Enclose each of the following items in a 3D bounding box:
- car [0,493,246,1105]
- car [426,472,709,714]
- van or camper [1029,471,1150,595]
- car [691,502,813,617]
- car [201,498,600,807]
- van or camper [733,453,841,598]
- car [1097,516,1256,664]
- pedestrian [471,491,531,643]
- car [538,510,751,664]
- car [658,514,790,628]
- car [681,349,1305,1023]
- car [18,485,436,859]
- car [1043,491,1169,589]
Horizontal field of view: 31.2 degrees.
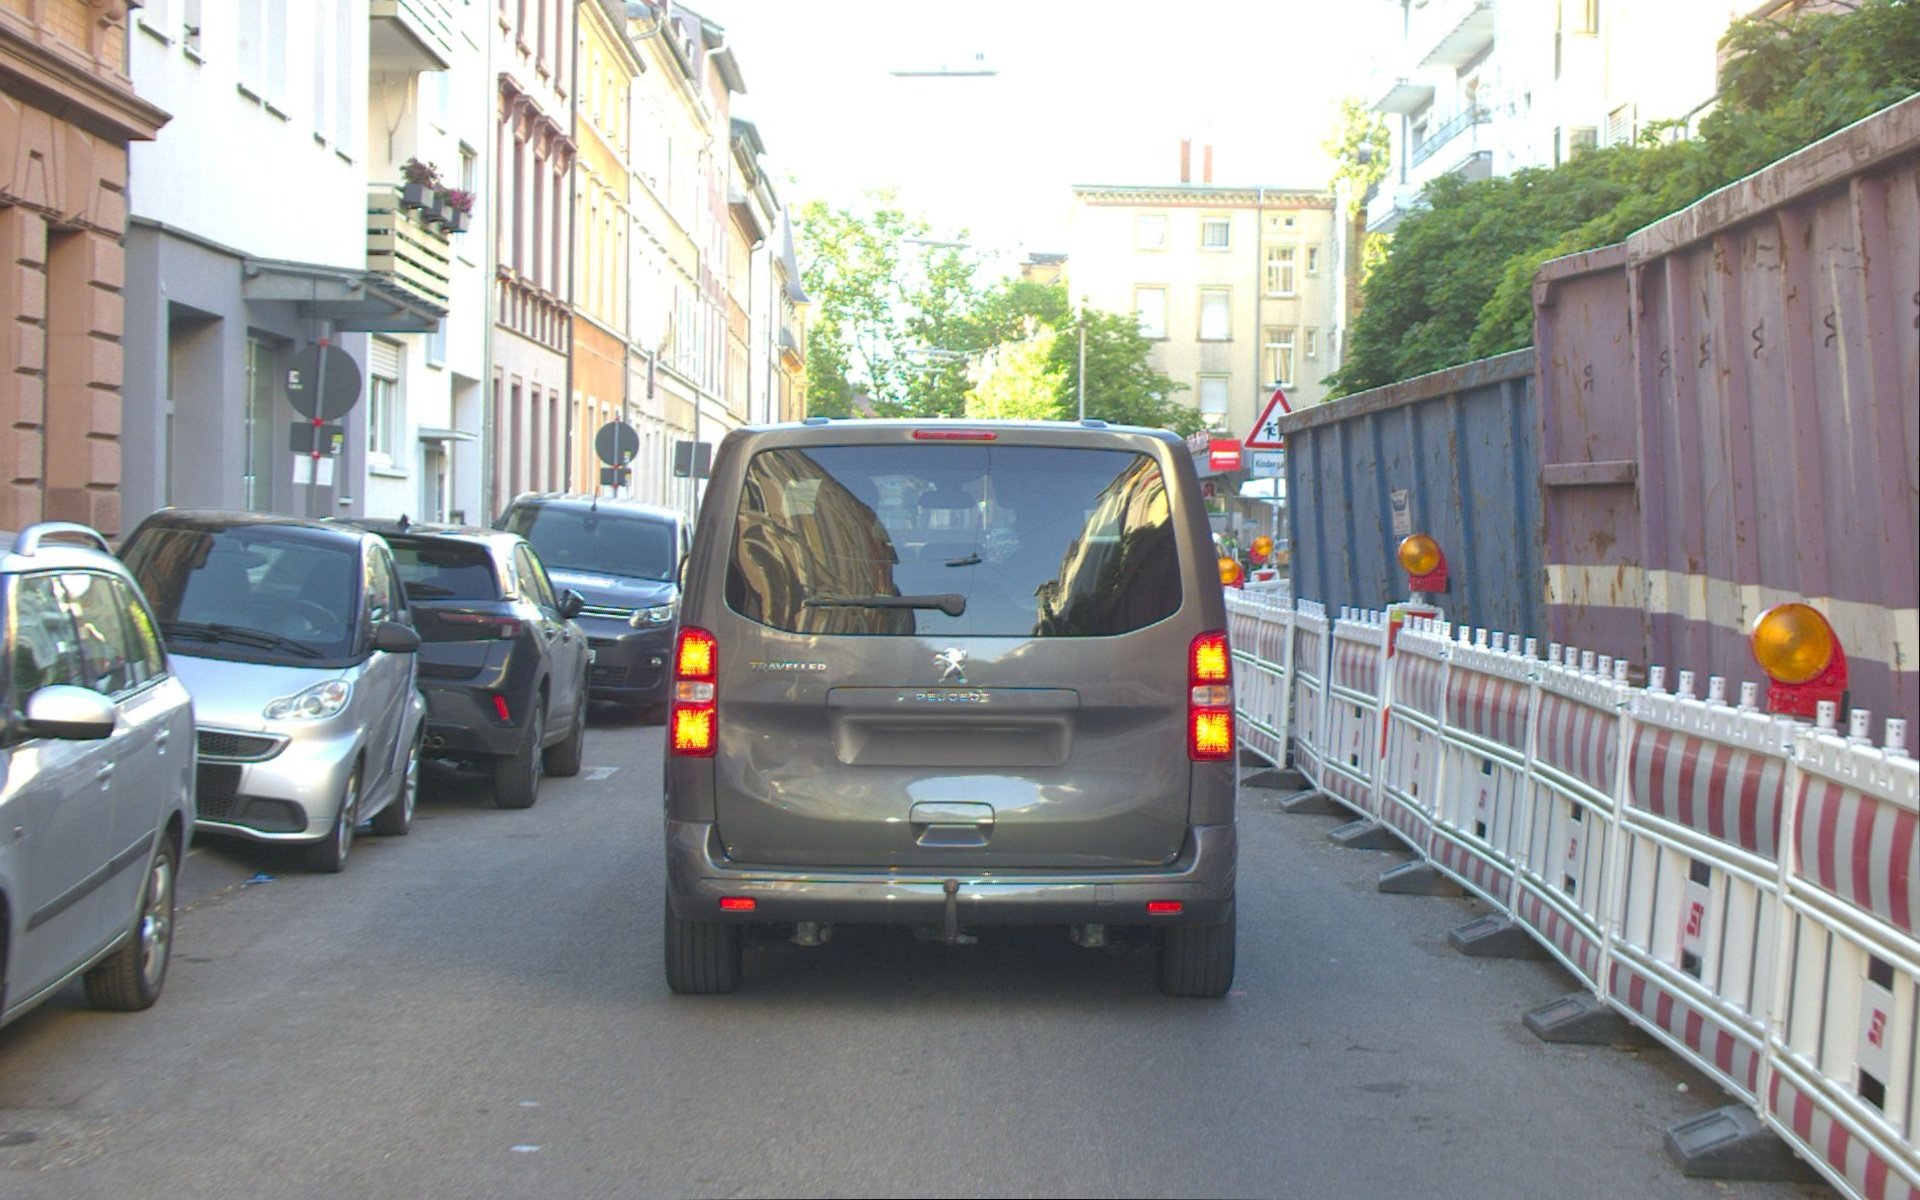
[{"bbox_3d":[-3.167,0.442,9.695,1.555,1.503,3.598,4,1,-1],"label":"car"},{"bbox_3d":[-3.264,-0.114,29.416,1.993,1.852,4.585,2,1,-2],"label":"car"},{"bbox_3d":[2.792,-1.494,75.978,2.099,2.593,7.513,0,1,-2],"label":"van or camper"},{"bbox_3d":[-3.260,-0.665,54.401,1.711,1.638,3.980,4,1,-2],"label":"car"},{"bbox_3d":[-3.189,0.229,20.303,1.740,1.594,4.015,2,1,-1],"label":"car"},{"bbox_3d":[-3.283,-1.432,65.808,1.949,2.640,7.142,0,1,-3],"label":"van or camper"},{"bbox_3d":[2.639,-0.169,42.794,1.749,1.677,4.525,2,1,1],"label":"car"},{"bbox_3d":[-5.019,-0.363,37.612,0.495,1.633,0.665,3,1,-1],"label":"pedestrian"},{"bbox_3d":[-3.511,-0.174,38.833,1.669,1.480,3.605,6,2,4],"label":"car"},{"bbox_3d":[-3.346,-0.442,49.212,1.657,1.443,3.286,5,1,-2],"label":"car"},{"bbox_3d":[0.058,0.205,12.336,1.857,2.007,4.001,-1,2,-1],"label":"car"},{"bbox_3d":[-3.386,0.277,16.279,1.396,1.583,2.794,2,1,-1],"label":"car"},{"bbox_3d":[2.512,-1.058,60.027,1.722,1.606,4.589,1,1,-3],"label":"car"}]
